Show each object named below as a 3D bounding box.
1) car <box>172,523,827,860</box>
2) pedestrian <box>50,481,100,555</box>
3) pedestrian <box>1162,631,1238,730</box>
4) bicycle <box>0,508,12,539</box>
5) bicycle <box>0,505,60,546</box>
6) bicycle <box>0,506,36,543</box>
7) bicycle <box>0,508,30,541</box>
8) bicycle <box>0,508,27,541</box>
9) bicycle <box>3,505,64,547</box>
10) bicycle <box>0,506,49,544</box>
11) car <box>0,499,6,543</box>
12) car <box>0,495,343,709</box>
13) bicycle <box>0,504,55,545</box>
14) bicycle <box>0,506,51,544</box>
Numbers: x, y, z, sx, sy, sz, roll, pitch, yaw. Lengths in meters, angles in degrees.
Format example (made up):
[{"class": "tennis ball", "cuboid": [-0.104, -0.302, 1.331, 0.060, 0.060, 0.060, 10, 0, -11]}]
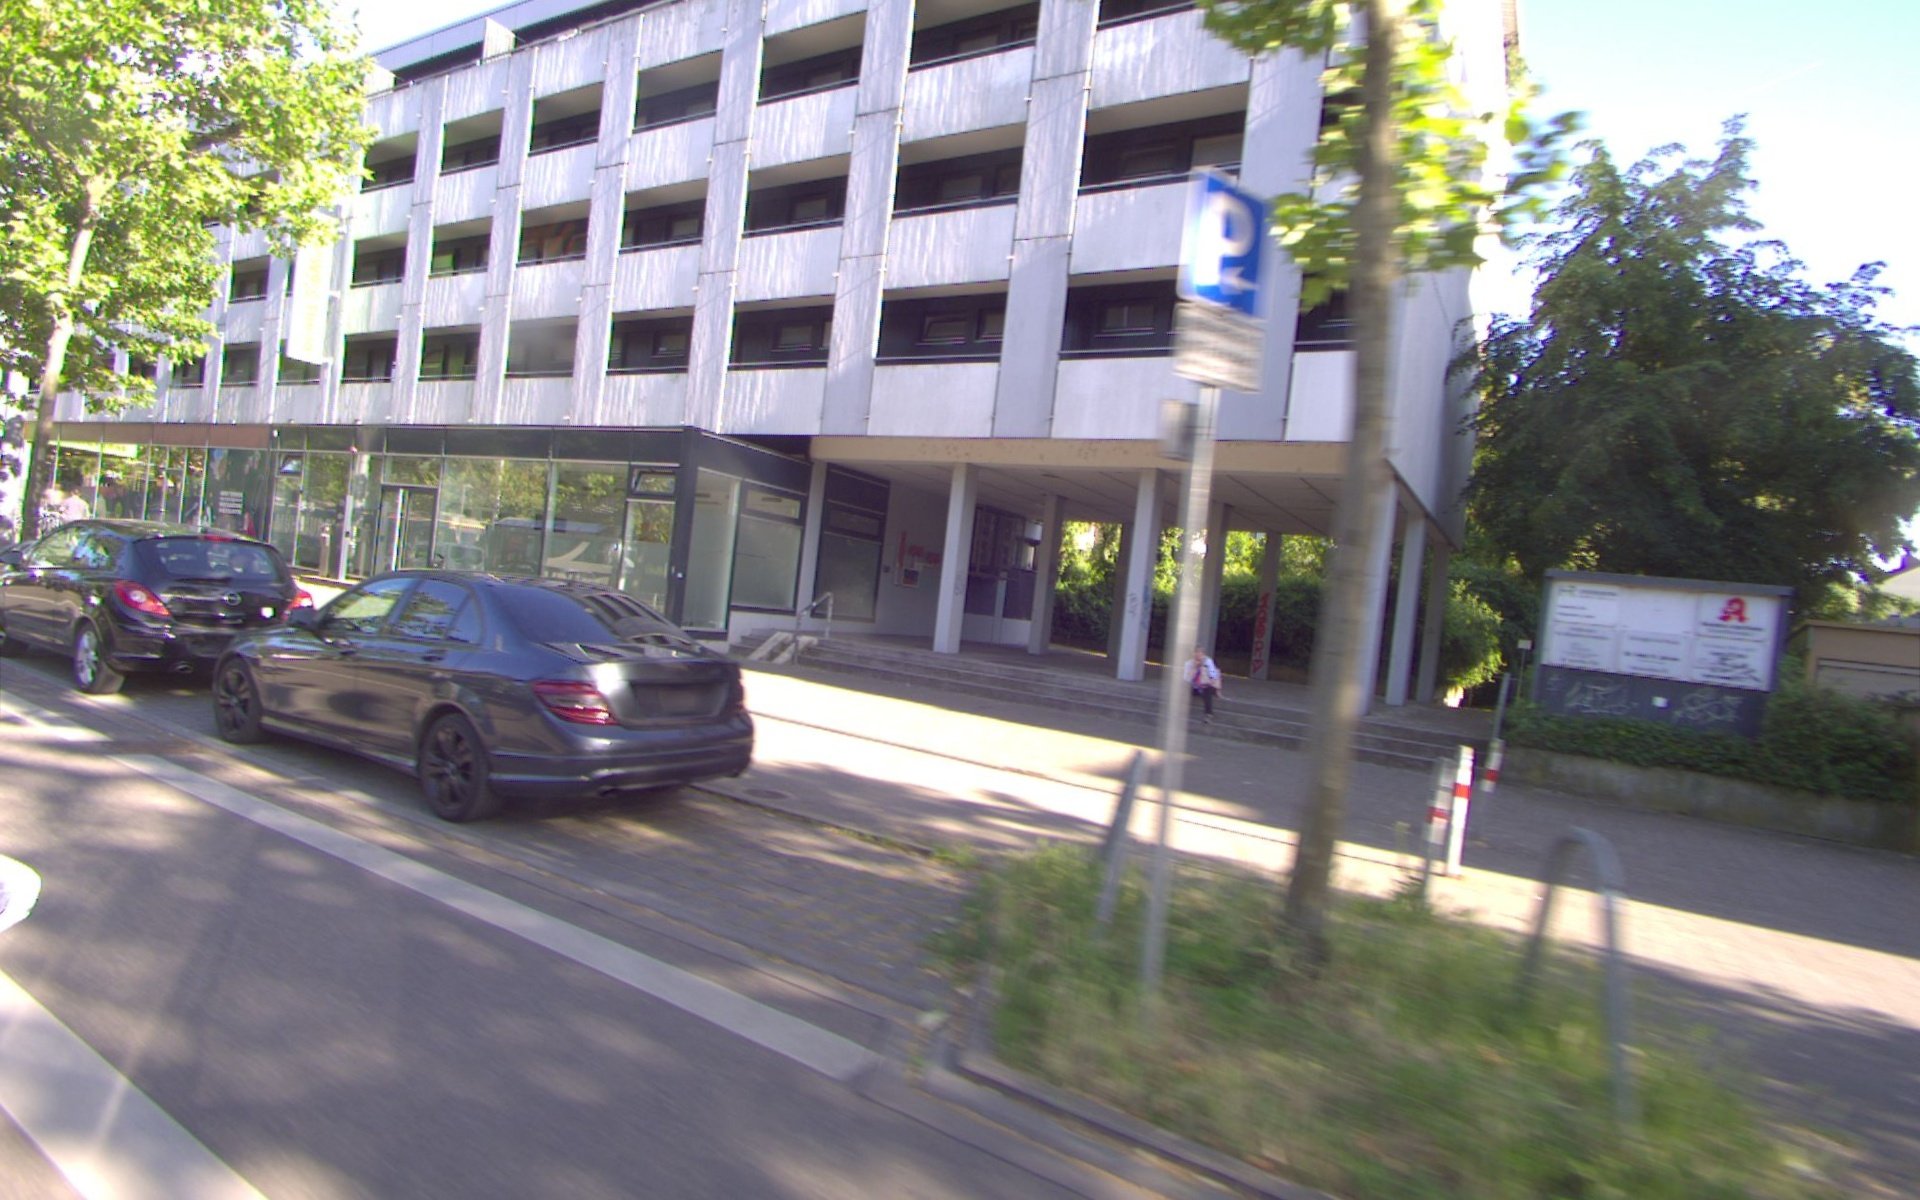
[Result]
[{"class": "car", "cuboid": [-3.408, 0.476, 7.193, 4.522, 1.526, 1.997, 6, -2, 32]}, {"class": "pedestrian", "cuboid": [-26.014, -2.406, 29.566, 0.876, 2.039, 0.788, 7, 1, 33]}, {"class": "pedestrian", "cuboid": [3.656, 1.232, 15.303, 0.732, 1.373, 0.718, 7, -1, 39]}, {"class": "bicycle", "cuboid": [-34.932, -2.827, 35.991, 0.239, 1.040, 1.386, 8, -1, 31]}, {"class": "bicycle", "cuboid": [-31.132, -2.482, 33.658, 0.239, 1.161, 1.386, 8, -1, 31]}, {"class": "bicycle", "cuboid": [-33.151, -2.660, 34.980, 0.239, 1.111, 1.386, 8, -1, 31]}, {"class": "bicycle", "cuboid": [-33.524, -2.694, 35.157, 0.239, 1.024, 1.386, 8, -2, 31]}, {"class": "bicycle", "cuboid": [-33.754, -2.715, 35.301, 0.239, 1.035, 1.386, 8, -1, 31]}, {"class": "bicycle", "cuboid": [-30.837, -2.440, 33.499, 0.239, 1.161, 1.386, 8, -1, 31]}, {"class": "bicycle", "cuboid": [-31.935, -2.544, 34.150, 0.239, 1.071, 1.386, 8, -1, 31]}, {"class": "car", "cuboid": [-16.284, -0.987, 15.113, 3.934, 1.538, 1.809, 6, -2, 32]}, {"class": "car", "cuboid": [-7.984, -0.034, 9.795, 3.934, 1.569, 1.672, 7, -2, 32]}, {"class": "bicycle", "cuboid": [-31.410, -2.523, 33.805, 0.239, 1.161, 1.386, 8, -1, 31]}, {"class": "bicycle", "cuboid": [-31.692, -2.532, 33.966, 0.239, 1.068, 1.386, 8, -1, 31]}]
